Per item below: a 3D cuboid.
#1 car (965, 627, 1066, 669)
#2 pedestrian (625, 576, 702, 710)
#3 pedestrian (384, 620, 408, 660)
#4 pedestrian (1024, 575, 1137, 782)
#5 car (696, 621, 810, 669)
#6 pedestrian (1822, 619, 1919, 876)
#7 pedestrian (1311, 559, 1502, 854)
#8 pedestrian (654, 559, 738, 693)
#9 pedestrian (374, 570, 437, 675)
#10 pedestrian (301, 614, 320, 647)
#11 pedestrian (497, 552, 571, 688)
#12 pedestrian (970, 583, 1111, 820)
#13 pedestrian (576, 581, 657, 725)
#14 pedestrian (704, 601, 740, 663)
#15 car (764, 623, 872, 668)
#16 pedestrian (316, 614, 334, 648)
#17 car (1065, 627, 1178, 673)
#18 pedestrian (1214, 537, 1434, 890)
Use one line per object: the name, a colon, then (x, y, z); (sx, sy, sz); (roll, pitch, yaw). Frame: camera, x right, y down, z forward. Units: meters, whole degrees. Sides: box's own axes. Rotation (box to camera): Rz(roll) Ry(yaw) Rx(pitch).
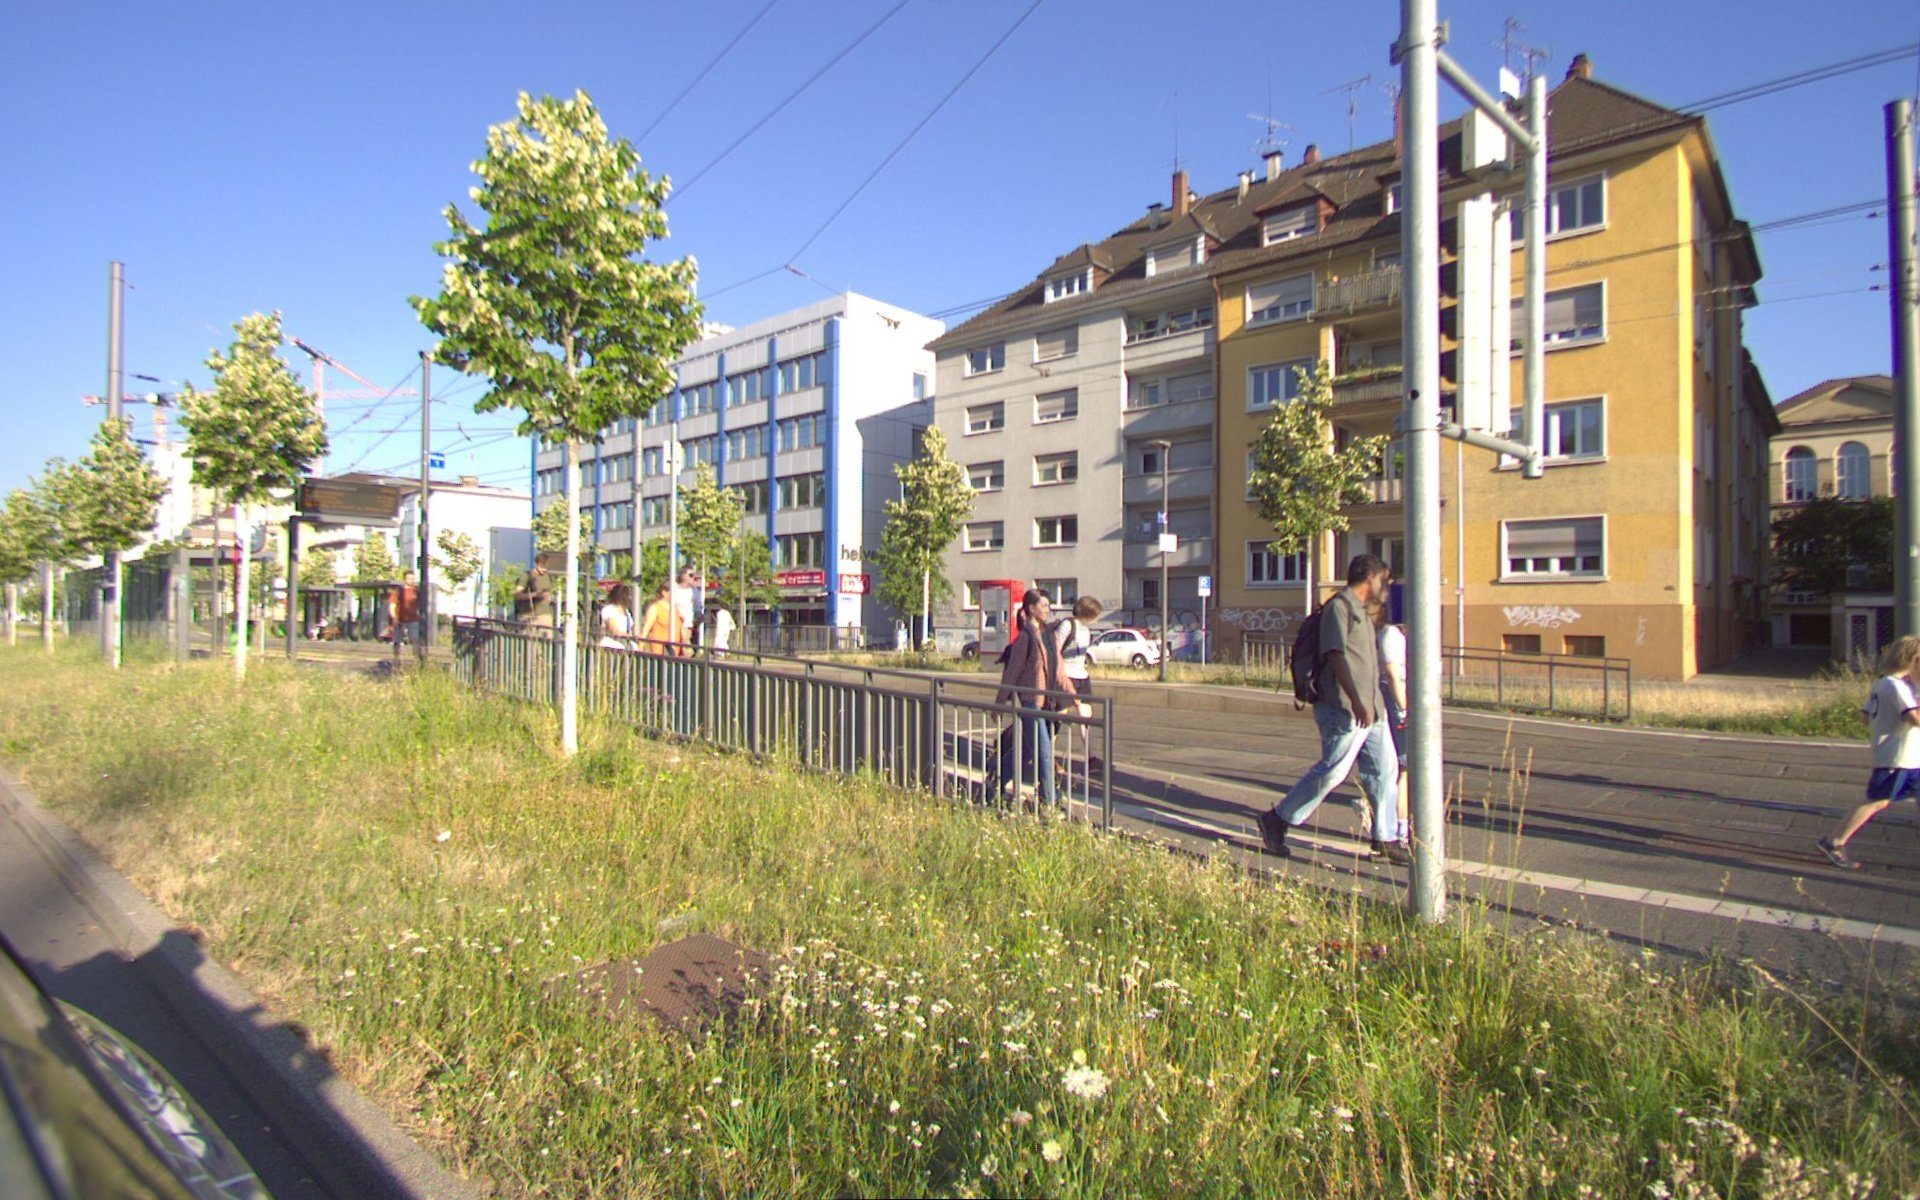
car: (2.199, 1.864, 40.480); (3.672, 1.519, 1.861); (-1, 0, 41)
pedestrian: (-3.326, 0.463, 11.352); (0.524, 1.442, 0.630); (-1, 0, 39)
pedestrian: (-24.575, 1.738, 44.107); (0.771, 1.705, 0.651); (-1, 0, 39)
pedestrian: (1.027, 0.629, 8.584); (0.619, 1.653, 0.778); (-1, -1, 39)
car: (-7.220, 1.521, 35.142); (3.941, 1.519, 1.861); (-1, 0, 41)
pedestrian: (5.332, 0.808, 5.658); (0.586, 1.371, 0.610); (4, -4, -32)
pedestrian: (2.768, 0.599, 6.277); (0.899, 1.653, 0.778); (-1, 0, 39)
pedestrian: (-3.222, 0.304, 12.349); (0.620, 1.560, 0.776); (-1, 0, 44)
pedestrian: (-9.324, 0.367, 17.015); (0.620, 1.711, 0.776); (-1, 0, 44)
pedestrian: (-33.615, 1.579, 52.389); (0.772, 1.705, 0.651); (-1, 0, 44)
pedestrian: (-6.094, 0.274, 14.479); (0.620, 1.878, 0.776); (-1, 0, 44)
pedestrian: (0.566, 0.663, 7.100); (0.776, 1.547, 0.620); (-1, 0, -45)
pedestrian: (-3.646, 0.544, 10.746); (0.524, 1.467, 0.629); (-1, 0, 41)
pedestrian: (-6.635, 0.889, 28.224); (0.620, 1.685, 0.776); (-1, 0, 44)
car: (-5.314, 1.633, 37.611); (3.941, 1.519, 1.861); (-1, 0, 41)
pedestrian: (-31.905, 1.557, 50.843); (0.650, 1.705, 0.773); (-1, 0, -43)
car: (5.935, 1.815, 37.368); (3.672, 1.519, 1.861); (-1, 0, 41)
pedestrian: (2.086, 0.597, 5.810); (0.900, 1.815, 0.777); (-3, -2, 42)
